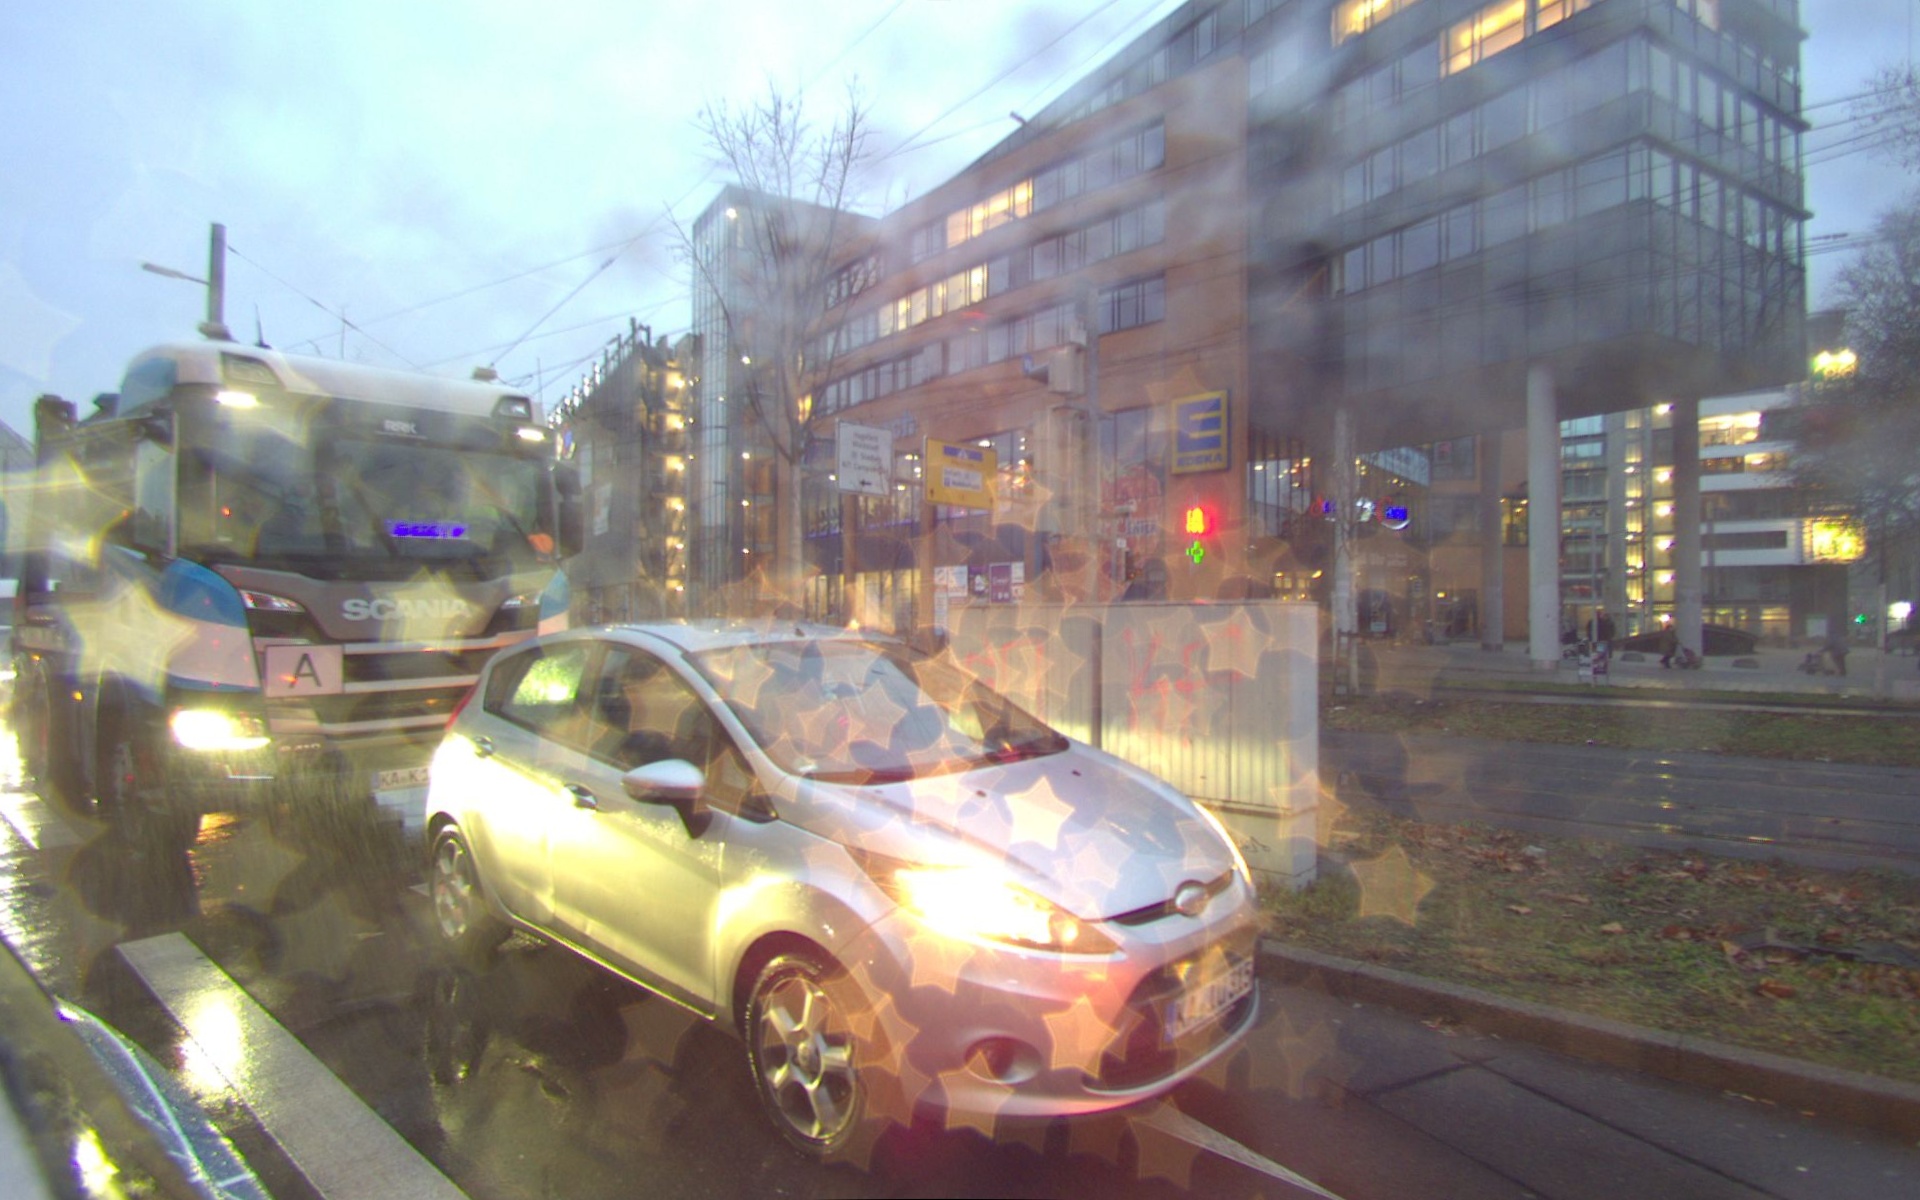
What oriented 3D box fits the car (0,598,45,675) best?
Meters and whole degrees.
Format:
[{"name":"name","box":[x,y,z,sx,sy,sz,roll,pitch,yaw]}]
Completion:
[{"name":"car","box":[-37.916,1.408,39.782,5.809,2.885,2.102,-1,-2,40]}]

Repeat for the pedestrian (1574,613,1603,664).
[{"name":"pedestrian","box":[23.590,1.444,38.000,0.723,1.878,0.574,1,-2,-13]}]

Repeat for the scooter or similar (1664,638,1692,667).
[{"name":"scooter or similar","box":[24.540,1.804,34.596,0.545,0.968,0.667,2,-2,-43]}]

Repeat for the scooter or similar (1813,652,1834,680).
[{"name":"scooter or similar","box":[27.458,2.092,32.190,0.545,0.856,0.433,2,-2,-43]}]

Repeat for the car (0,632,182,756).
[{"name":"car","box":[-13.024,1.273,14.978,3.939,1.535,1.613,0,-2,41]}]

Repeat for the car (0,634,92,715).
[{"name":"car","box":[-17.794,1.338,19.093,4.057,1.355,1.735,-1,-2,43]}]

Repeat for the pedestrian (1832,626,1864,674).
[{"name":"pedestrian","box":[27.859,1.557,31.748,0.564,1.470,0.685,2,-2,-43]}]

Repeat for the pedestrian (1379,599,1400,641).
[{"name":"pedestrian","box":[18.661,0.870,43.975,0.703,1.766,0.564,-1,-2,39]}]

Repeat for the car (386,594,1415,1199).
[{"name":"car","box":[-0.579,0.737,3.970,3.998,1.458,1.688,-1,0,41]}]

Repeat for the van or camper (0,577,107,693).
[{"name":"van or camper","box":[-22.961,0.830,24.824,5.894,2.551,2.126,-1,-2,40]}]

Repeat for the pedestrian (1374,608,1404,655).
[{"name":"pedestrian","box":[16.270,1.176,38.411,0.782,1.766,0.704,0,-2,-1]}]

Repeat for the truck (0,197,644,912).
[{"name":"truck","box":[-6.060,-0.160,8.701,7.521,3.661,2.810,-1,-2,40]}]

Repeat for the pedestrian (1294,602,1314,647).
[{"name":"pedestrian","box":[13.486,0.971,39.694,0.658,1.766,0.534,0,-2,12]}]

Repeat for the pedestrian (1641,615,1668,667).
[{"name":"pedestrian","box":[24.097,1.426,35.098,0.564,1.787,0.638,2,-2,-43]}]

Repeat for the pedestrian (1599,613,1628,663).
[{"name":"pedestrian","box":[24.690,1.425,38.233,0.723,1.878,0.574,1,-2,-14]}]
